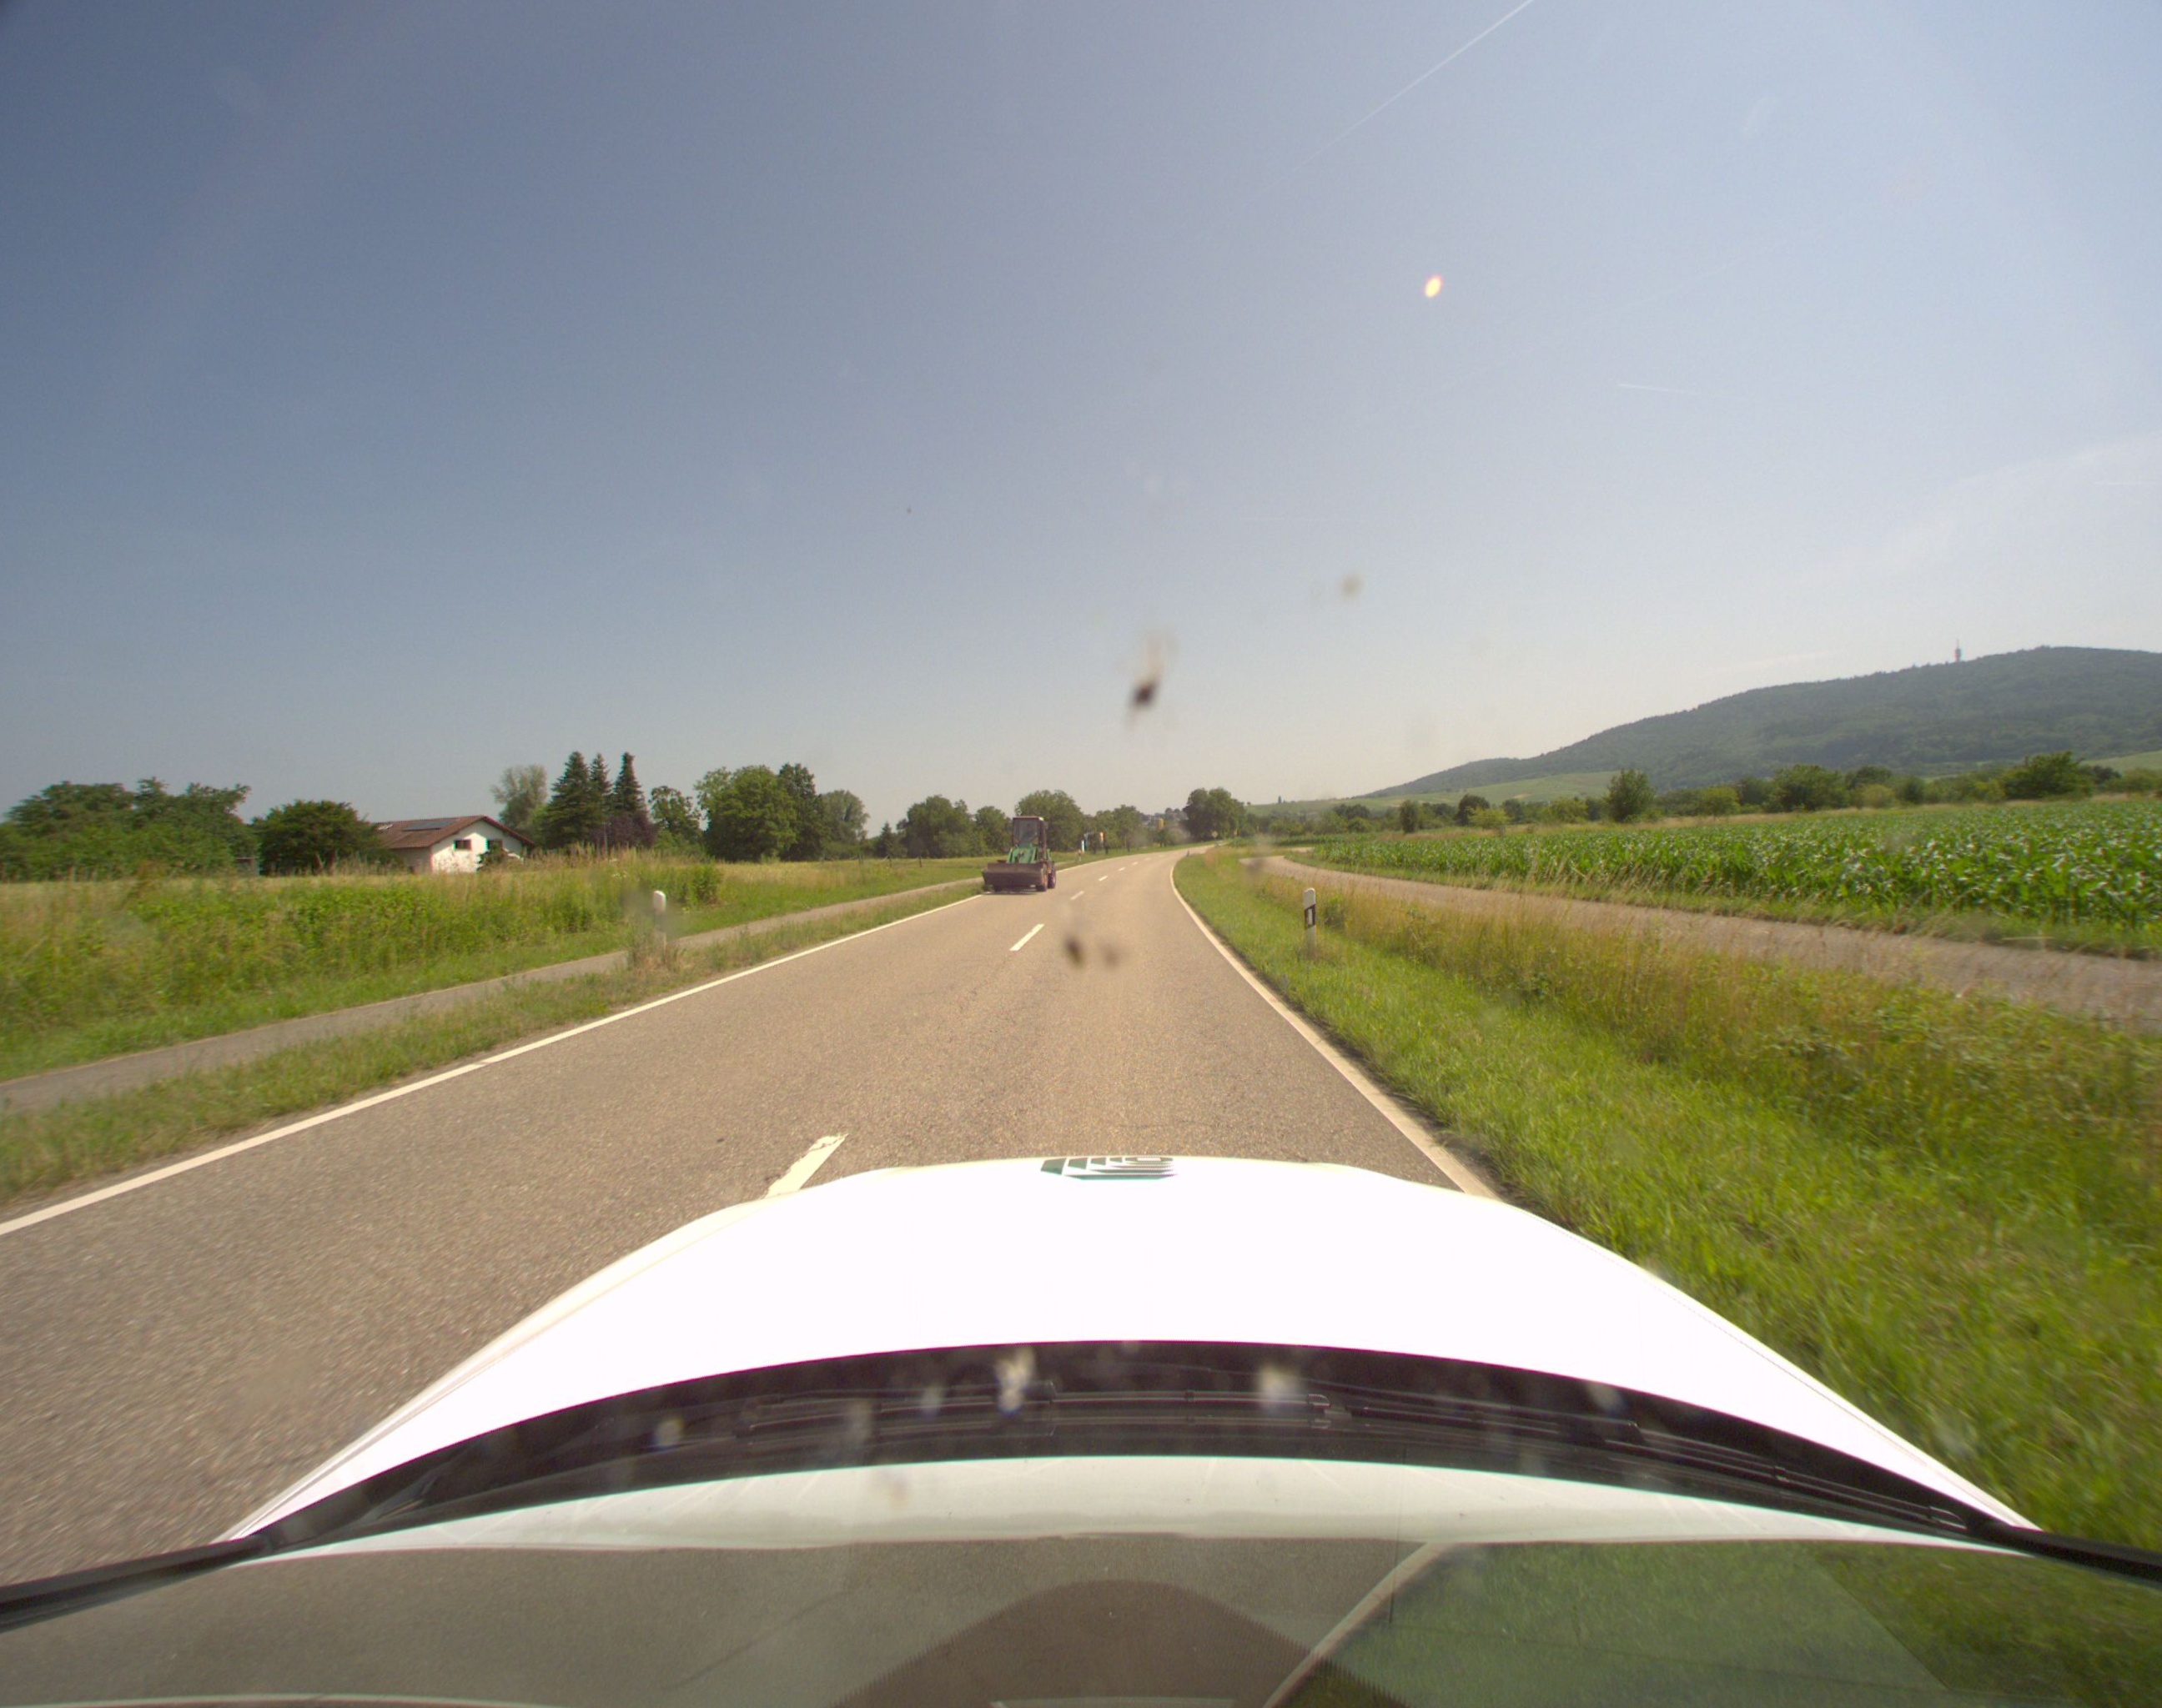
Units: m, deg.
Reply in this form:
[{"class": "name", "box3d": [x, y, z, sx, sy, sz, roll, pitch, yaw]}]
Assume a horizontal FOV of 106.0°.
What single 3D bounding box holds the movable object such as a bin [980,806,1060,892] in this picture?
[{"class": "movable object such as a bin", "box3d": [-2.011, -0.197, 28.711, 1.991, 2.754, 5.237, 0, 1, 5]}]
